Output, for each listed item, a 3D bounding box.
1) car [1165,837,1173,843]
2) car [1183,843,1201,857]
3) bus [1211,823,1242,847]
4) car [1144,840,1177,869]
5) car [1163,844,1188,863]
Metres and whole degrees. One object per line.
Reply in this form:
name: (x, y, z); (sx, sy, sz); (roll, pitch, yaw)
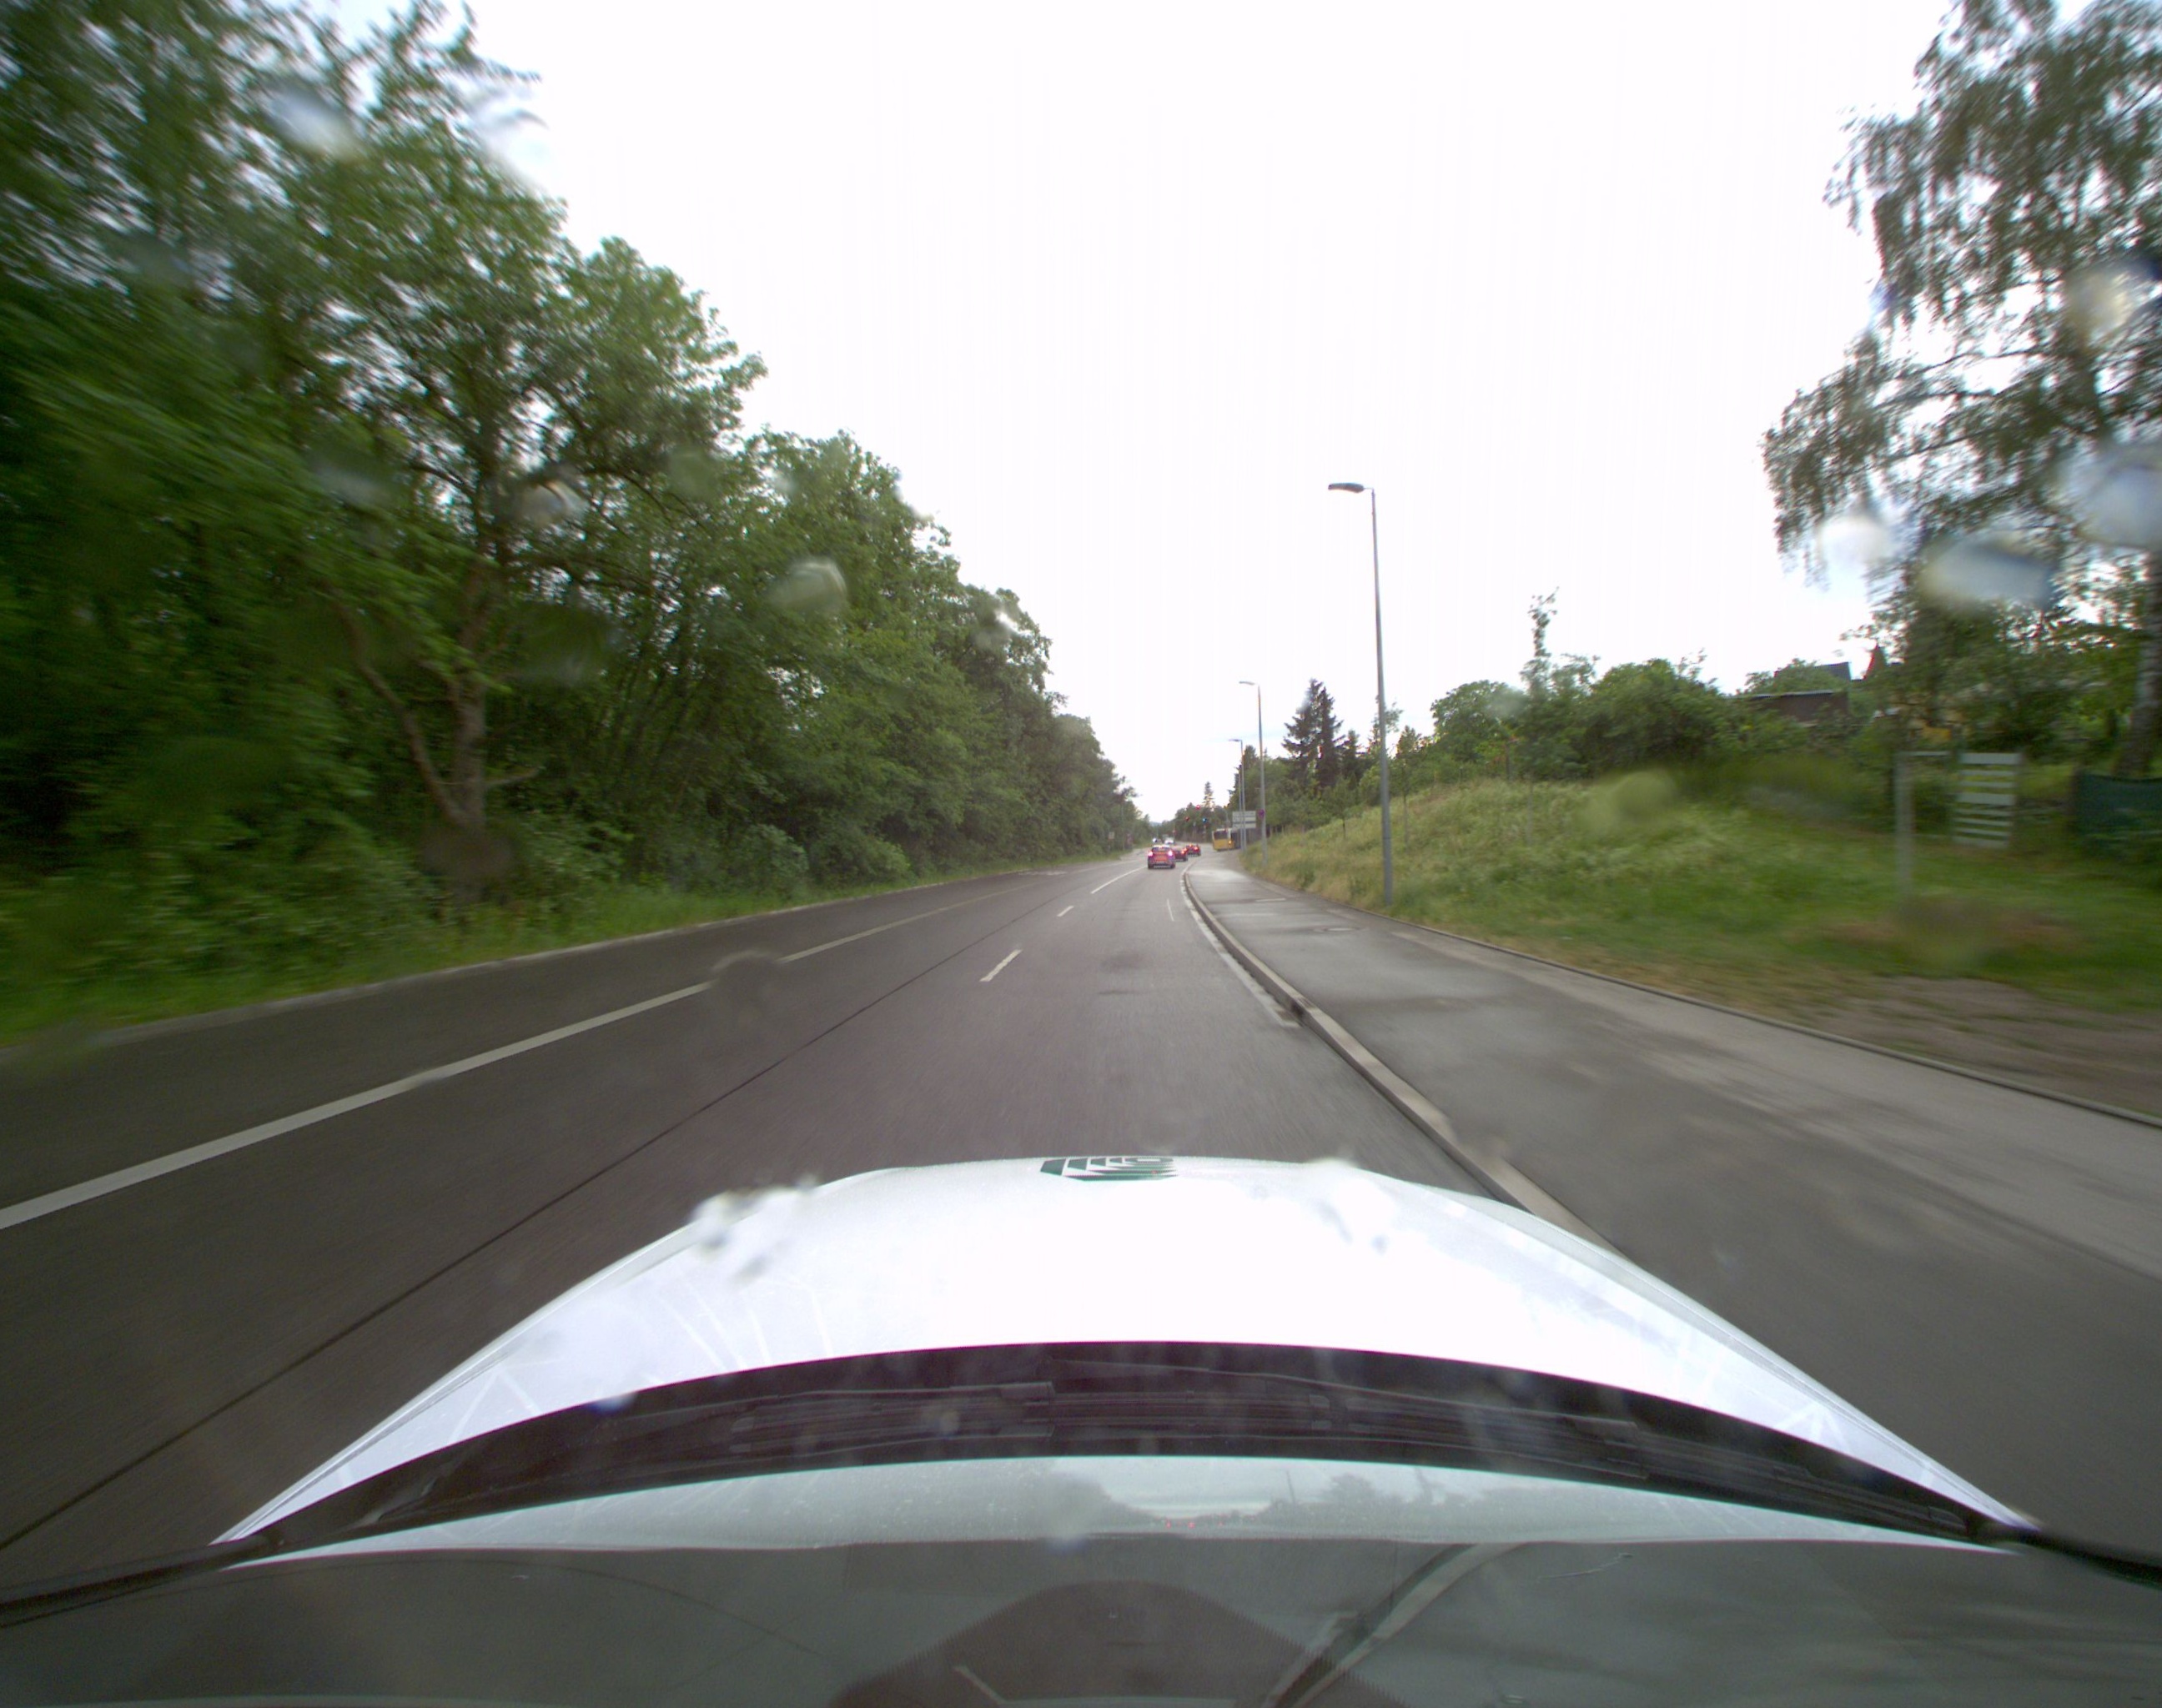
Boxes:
car: (23.296, -3.767, 215.938); (1.985, 1.420, 4.004); (-1, 0, 3)
car: (12.845, -0.468, 94.165); (1.982, 1.552, 4.009); (-1, 0, 8)
bus: (20.584, -2.622, 114.882); (2.794, 3.142, 9.225); (-1, 0, 19)
car: (5.420, 0.007, 55.103); (1.983, 1.689, 4.009); (-3, 2, 7)
car: (8.611, -0.026, 73.872); (1.915, 1.486, 3.811); (-3, 2, 10)
